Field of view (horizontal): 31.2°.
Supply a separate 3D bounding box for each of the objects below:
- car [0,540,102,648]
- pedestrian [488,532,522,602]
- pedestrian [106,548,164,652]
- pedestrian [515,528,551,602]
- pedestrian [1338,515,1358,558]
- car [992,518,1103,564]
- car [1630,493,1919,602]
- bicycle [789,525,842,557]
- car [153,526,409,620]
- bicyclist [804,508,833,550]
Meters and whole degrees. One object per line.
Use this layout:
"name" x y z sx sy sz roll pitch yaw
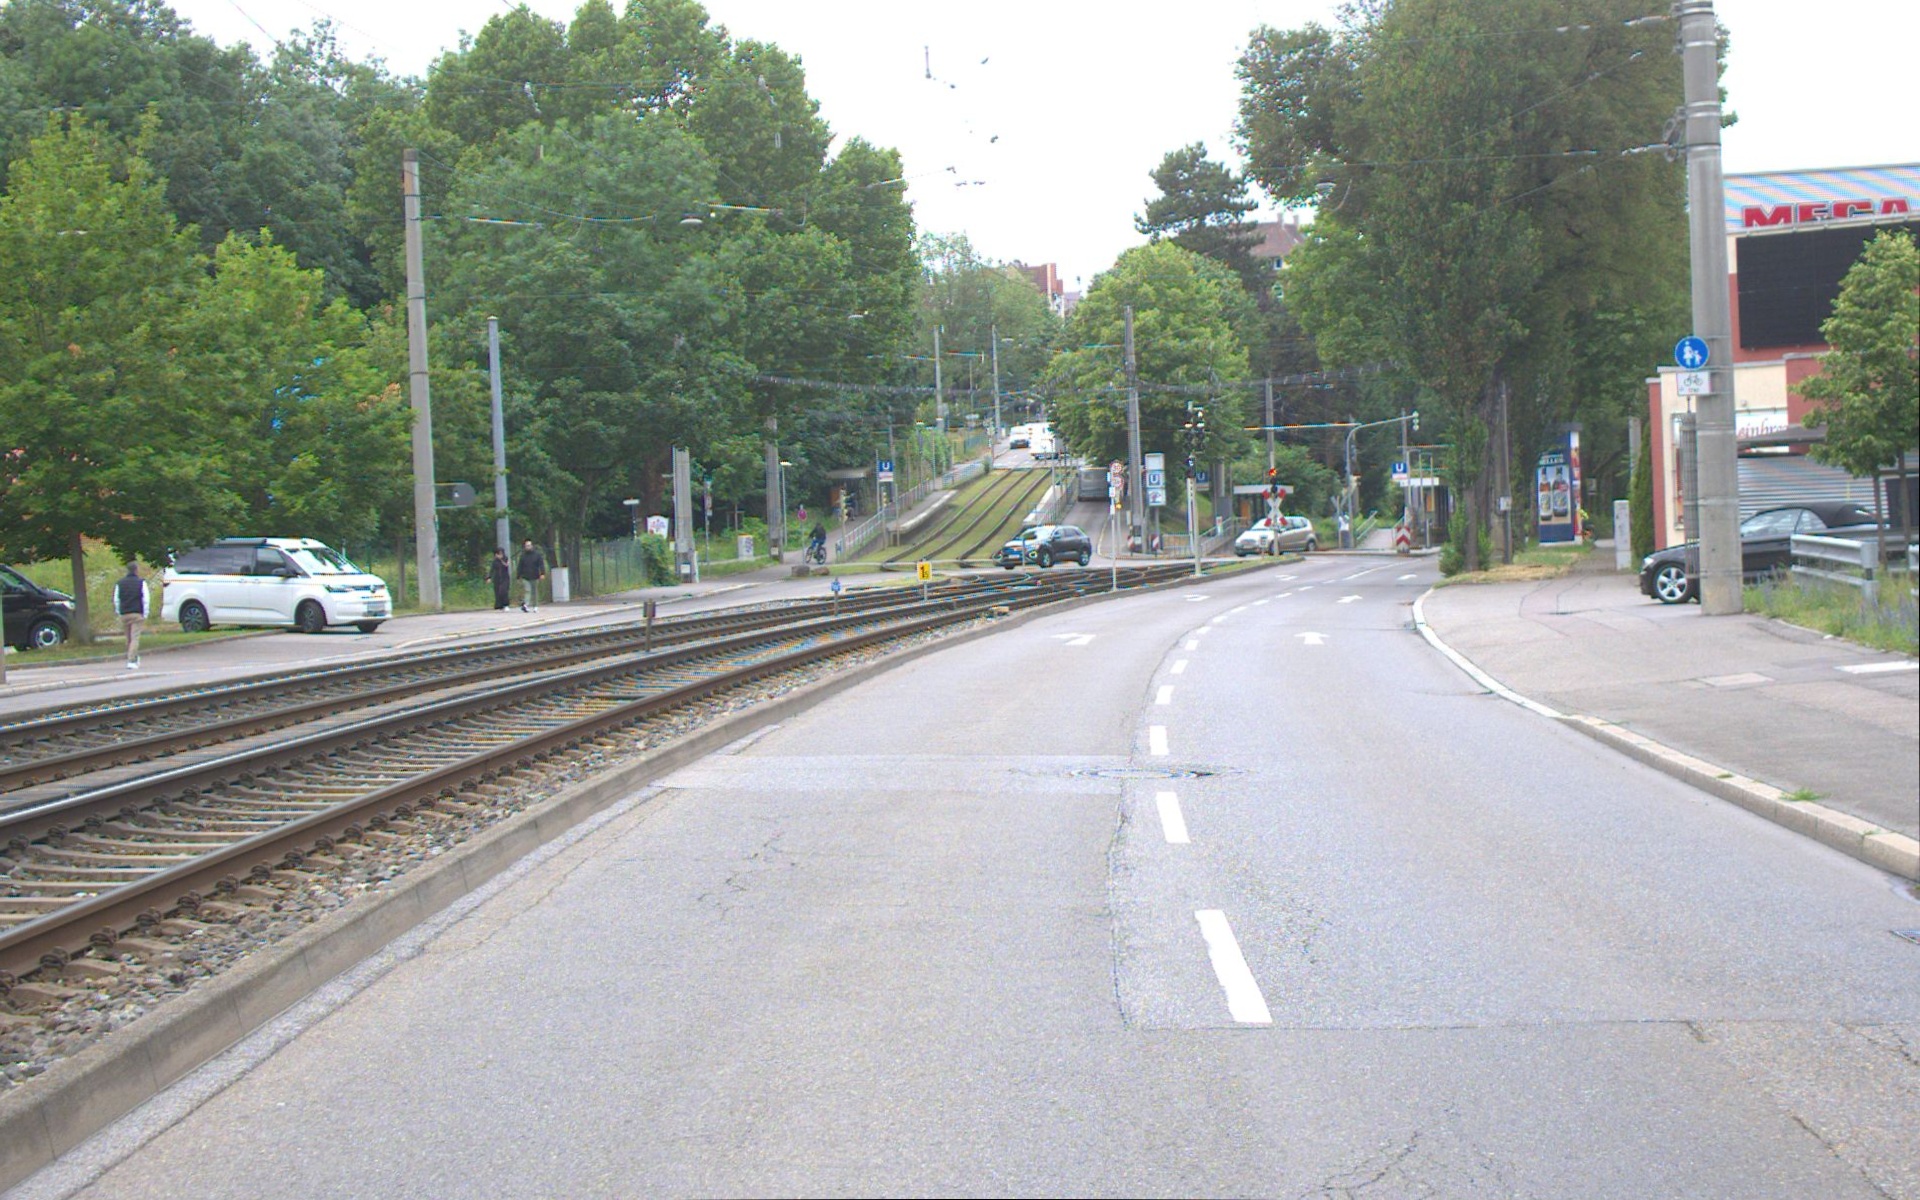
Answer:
"car" -19.560 -0.056 66.889 5.056 2.007 2.166 -3 1 -31
"pedestrian" -11.283 -0.828 85.223 0.628 1.707 0.855 0 1 8
"pedestrian" -13.374 -0.004 55.759 0.718 1.650 1.042 0 1 -2
"pedestrian" -10.567 -0.866 85.172 0.676 1.807 0.855 0 1 8
"pedestrian" 17.202 -2.816 152.339 0.769 1.846 0.910 -2 0 8
"car" 3.234 -2.183 126.381 1.691 1.527 4.246 -5 -2 41
"car" 12.230 -0.771 50.710 4.228 1.438 1.760 -2 1 34
"bicycle" -6.408 -2.609 152.167 0.824 1.339 2.996 -3 1 -34
"car" -14.064 -0.589 71.134 5.064 1.881 2.163 1 1 31
"bicyclist" -6.259 -3.139 151.896 0.821 1.843 1.051 -3 1 -33
